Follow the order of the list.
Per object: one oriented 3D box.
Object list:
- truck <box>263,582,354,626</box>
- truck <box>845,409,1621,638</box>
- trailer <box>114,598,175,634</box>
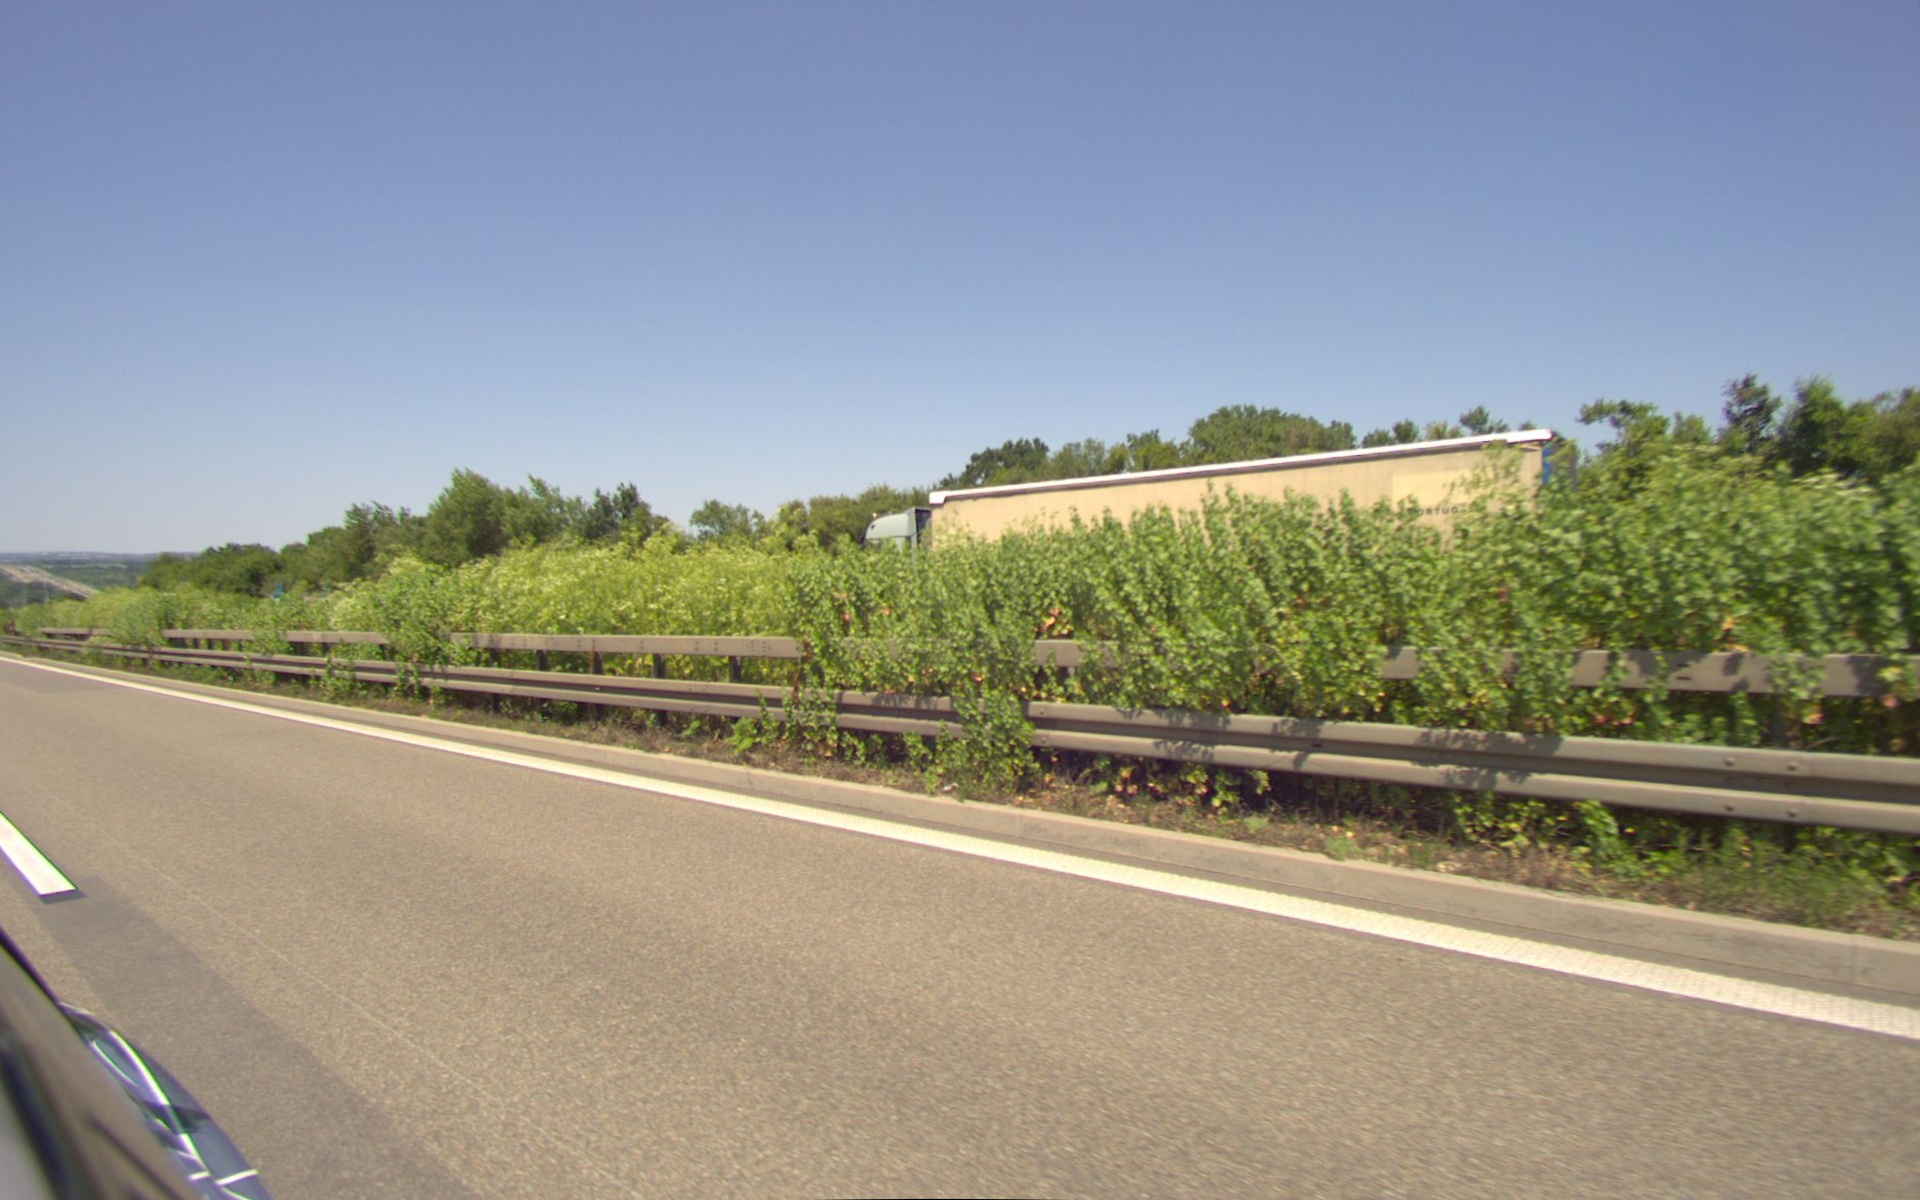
[{"bbox_3d":[-39.777,0.335,61.674,7.839,2.497,2.648,-1,-2,42],"label":"truck"},{"bbox_3d":[4.246,-1.036,22.282,17.028,3.545,2.646,-1,-1,41],"label":"truck"},{"bbox_3d":[-83.699,1.711,103.723,15.828,3.469,2.569,-1,-1,43],"label":"trailer"}]
